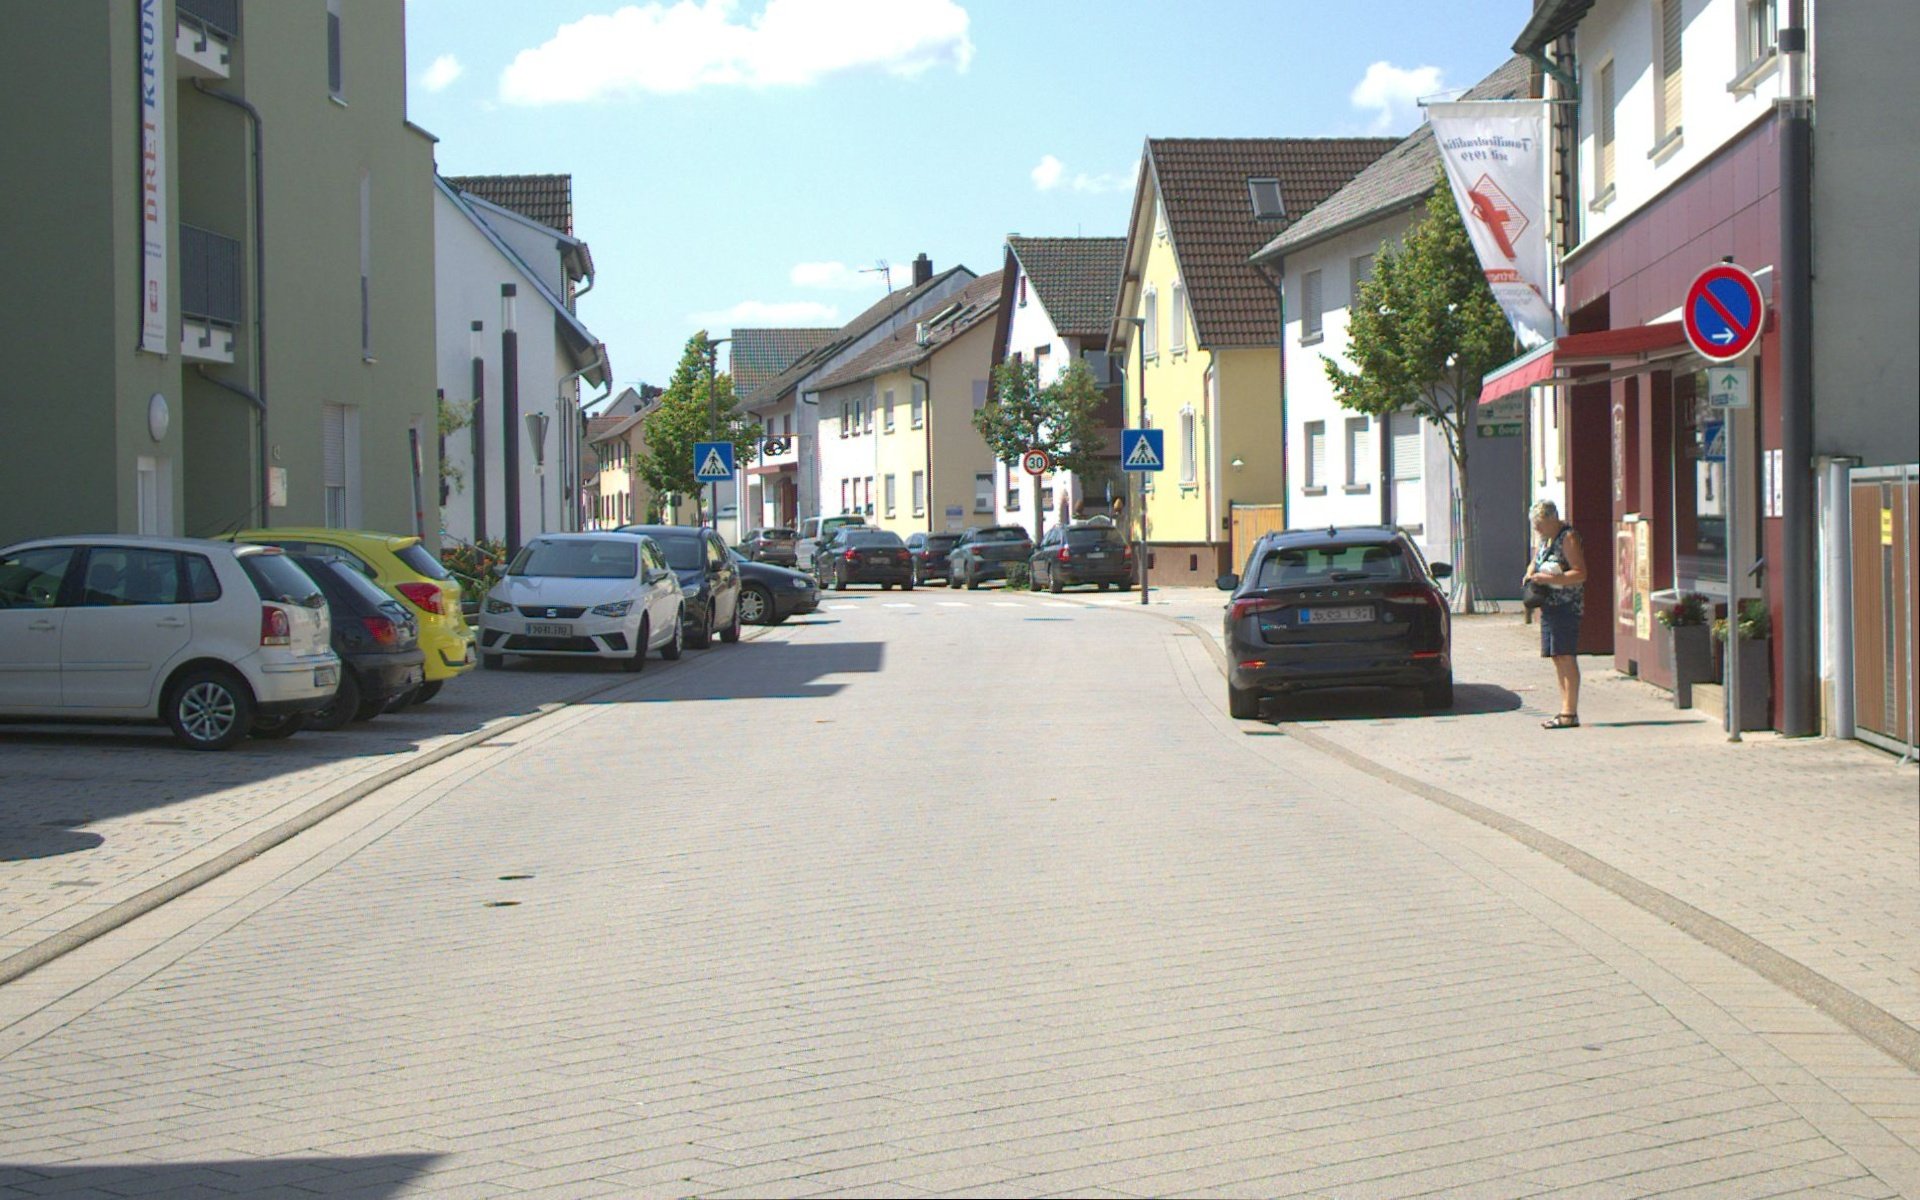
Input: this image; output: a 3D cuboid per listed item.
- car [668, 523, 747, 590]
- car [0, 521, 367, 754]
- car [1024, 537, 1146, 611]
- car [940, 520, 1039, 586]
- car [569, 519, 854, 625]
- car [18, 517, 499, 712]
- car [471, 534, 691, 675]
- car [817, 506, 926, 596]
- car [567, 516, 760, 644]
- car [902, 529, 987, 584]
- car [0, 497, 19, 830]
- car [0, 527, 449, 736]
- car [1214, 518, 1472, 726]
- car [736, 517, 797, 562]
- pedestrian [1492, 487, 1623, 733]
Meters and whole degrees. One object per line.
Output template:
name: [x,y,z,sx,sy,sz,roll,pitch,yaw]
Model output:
car: [-5.915,-1.037,80.230,1.747,1.525,4.001,0,1,-6]
car: [-6.349,0.215,24.332,3.901,1.497,1.750,2,2,5]
car: [2.692,-0.586,75.203,1.828,1.466,4.277,-3,1,-9]
car: [0.705,-1.176,84.739,1.846,1.557,3.694,-2,2,-9]
car: [-3.767,-0.440,52.606,4.106,1.433,1.765,-2,1,4]
car: [-5.949,0.096,29.402,3.692,1.520,1.672,1,2,4]
car: [-4.096,0.007,37.741,1.758,1.406,3.877,1,2,3]
car: [-2.137,-1.191,82.182,1.993,2.050,4.375,-2,2,-9]
car: [-3.673,-0.292,43.309,1.813,1.485,4.277,1,2,3]
car: [-0.436,-1.178,92.167,1.710,1.382,3.707,-2,2,-9]
car: [-6.899,0.289,16.530,4.219,1.652,1.784,1,1,3]
car: [-6.136,0.209,26.714,3.987,1.436,1.691,2,2,3]
car: [3.119,0.115,28.138,1.858,1.454,4.585,-3,1,6]
car: [-6.802,-2.137,120.476,1.754,1.487,4.001,-2,2,-9]
pedestrian: [4.130,0.060,23.805,0.730,1.634,0.749,-4,1,6]
